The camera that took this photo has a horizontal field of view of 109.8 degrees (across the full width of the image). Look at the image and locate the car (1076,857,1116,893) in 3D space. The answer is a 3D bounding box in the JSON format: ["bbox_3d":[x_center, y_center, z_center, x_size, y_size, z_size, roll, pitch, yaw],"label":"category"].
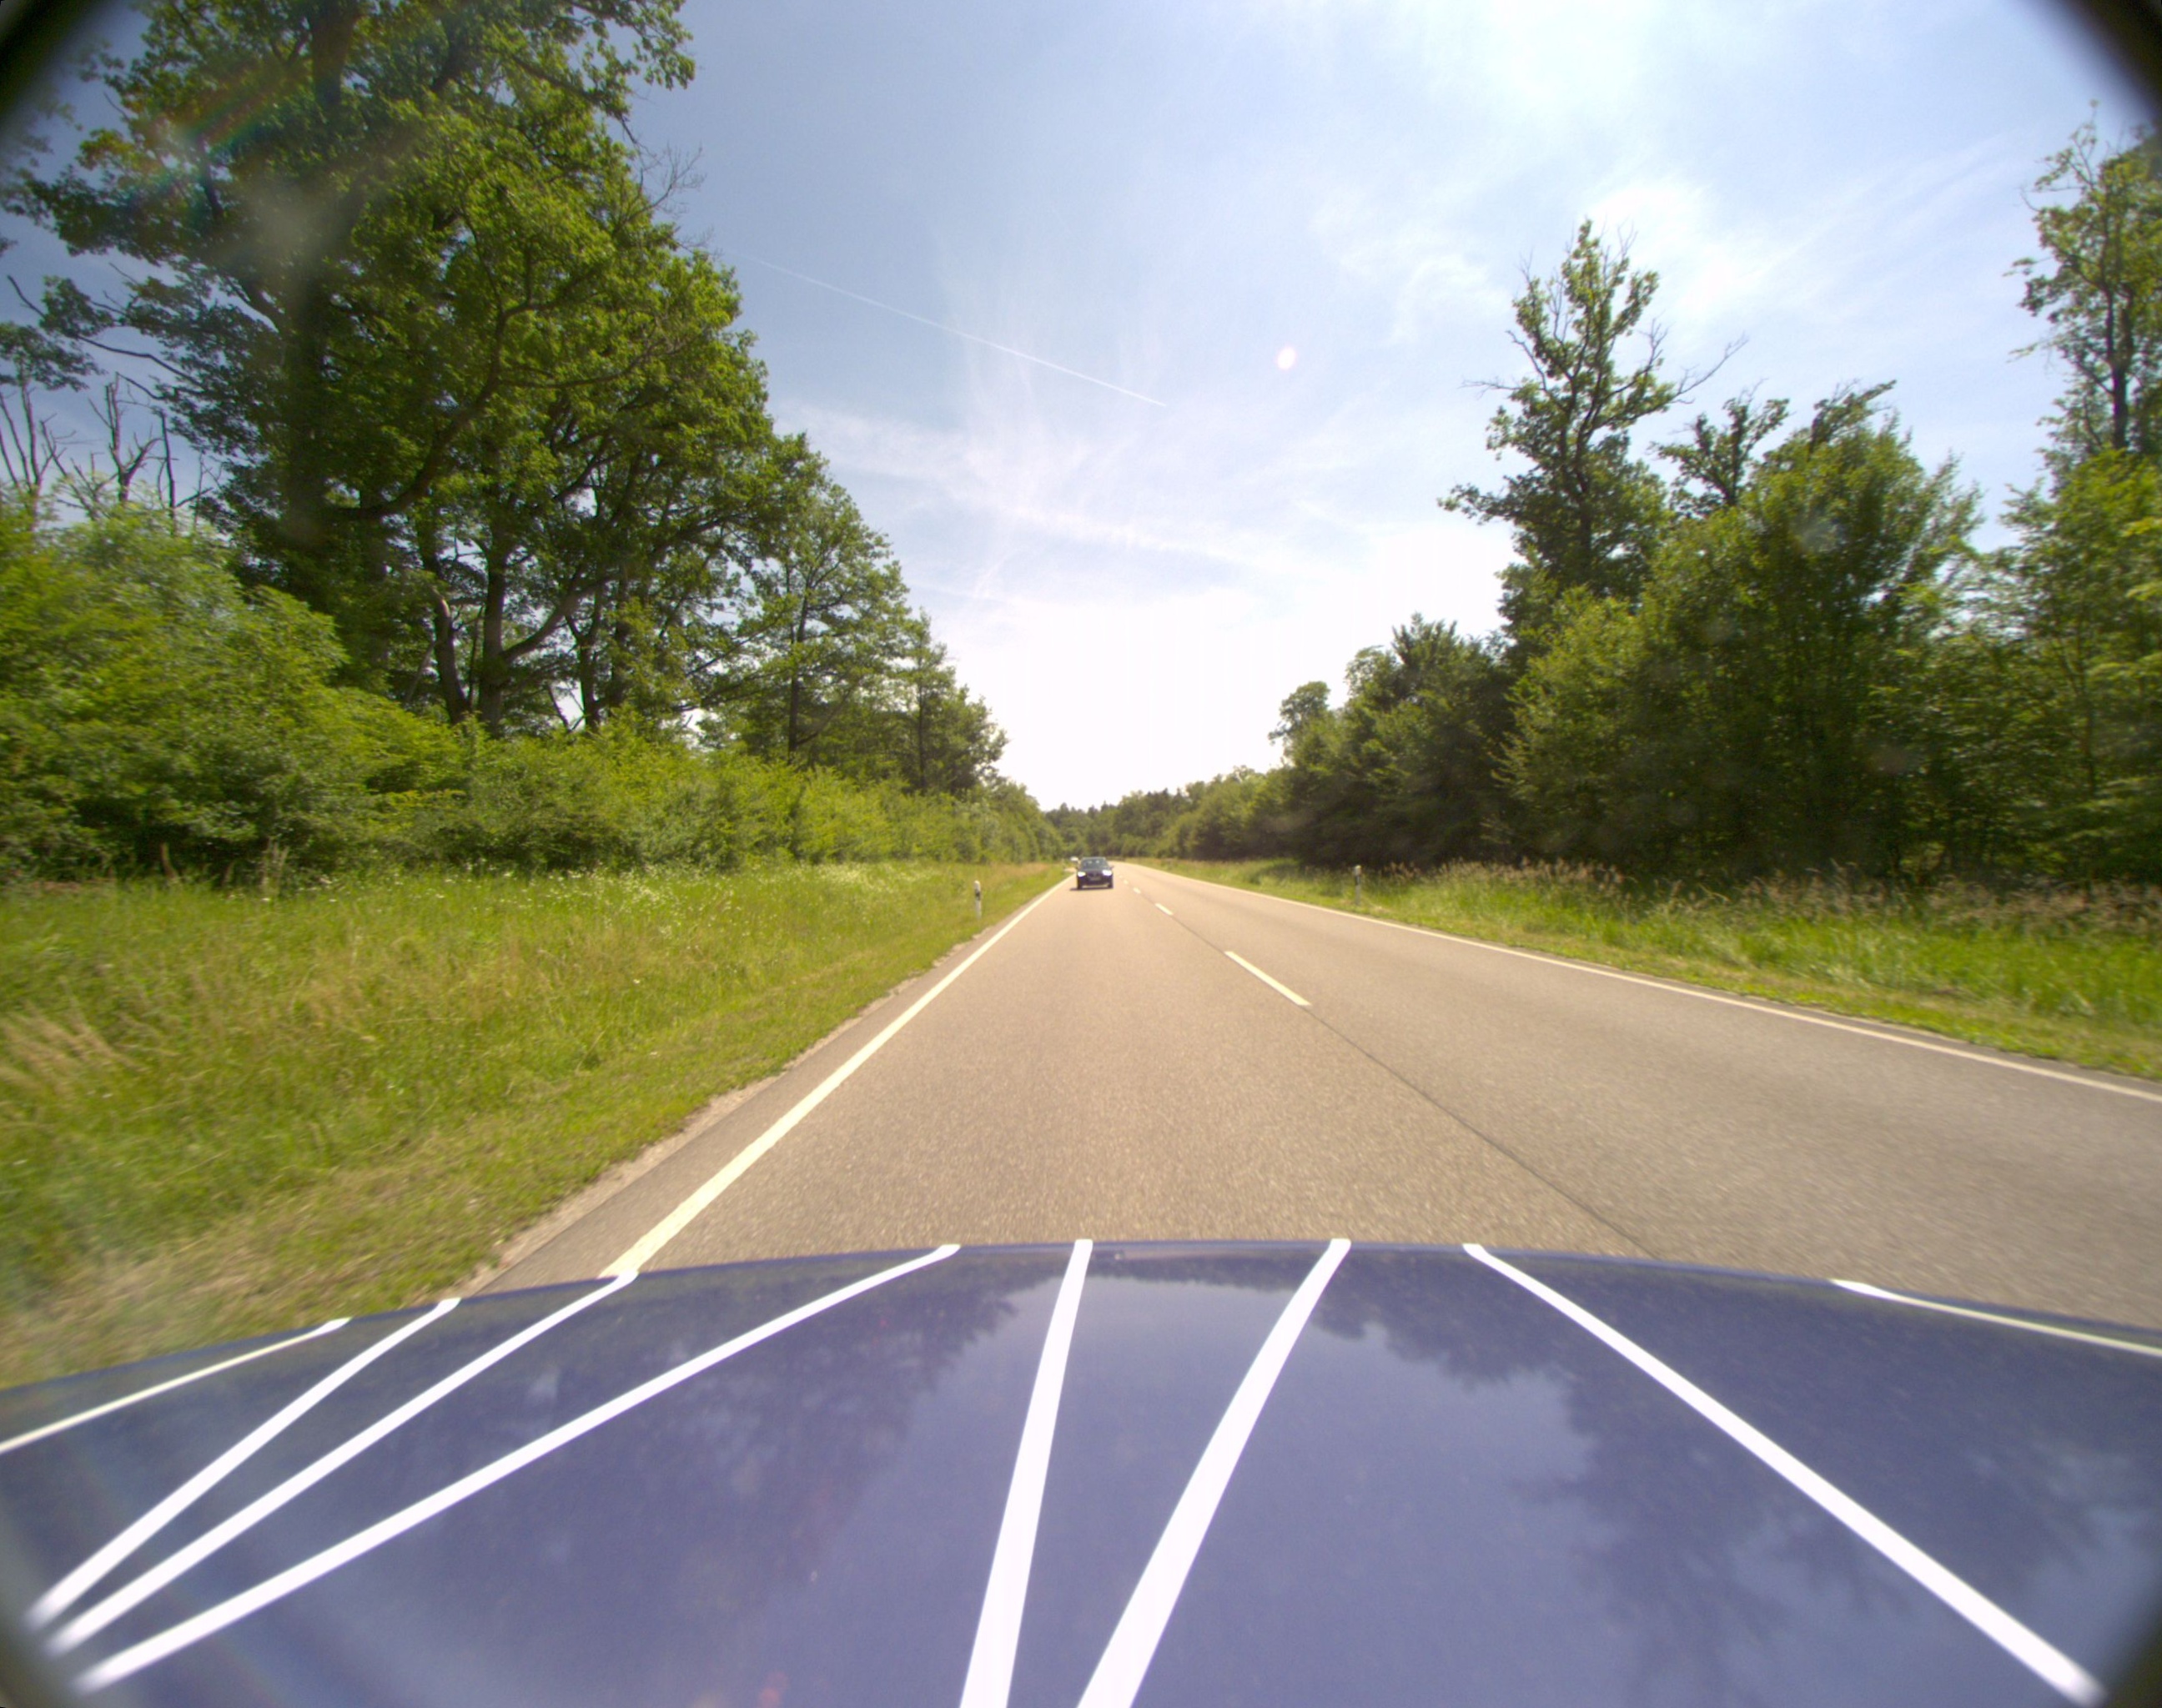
[{"bbox_3d":[0.737,0.931,35.796,1.713,1.516,4.242,-2,0,2],"label":"car"}]
